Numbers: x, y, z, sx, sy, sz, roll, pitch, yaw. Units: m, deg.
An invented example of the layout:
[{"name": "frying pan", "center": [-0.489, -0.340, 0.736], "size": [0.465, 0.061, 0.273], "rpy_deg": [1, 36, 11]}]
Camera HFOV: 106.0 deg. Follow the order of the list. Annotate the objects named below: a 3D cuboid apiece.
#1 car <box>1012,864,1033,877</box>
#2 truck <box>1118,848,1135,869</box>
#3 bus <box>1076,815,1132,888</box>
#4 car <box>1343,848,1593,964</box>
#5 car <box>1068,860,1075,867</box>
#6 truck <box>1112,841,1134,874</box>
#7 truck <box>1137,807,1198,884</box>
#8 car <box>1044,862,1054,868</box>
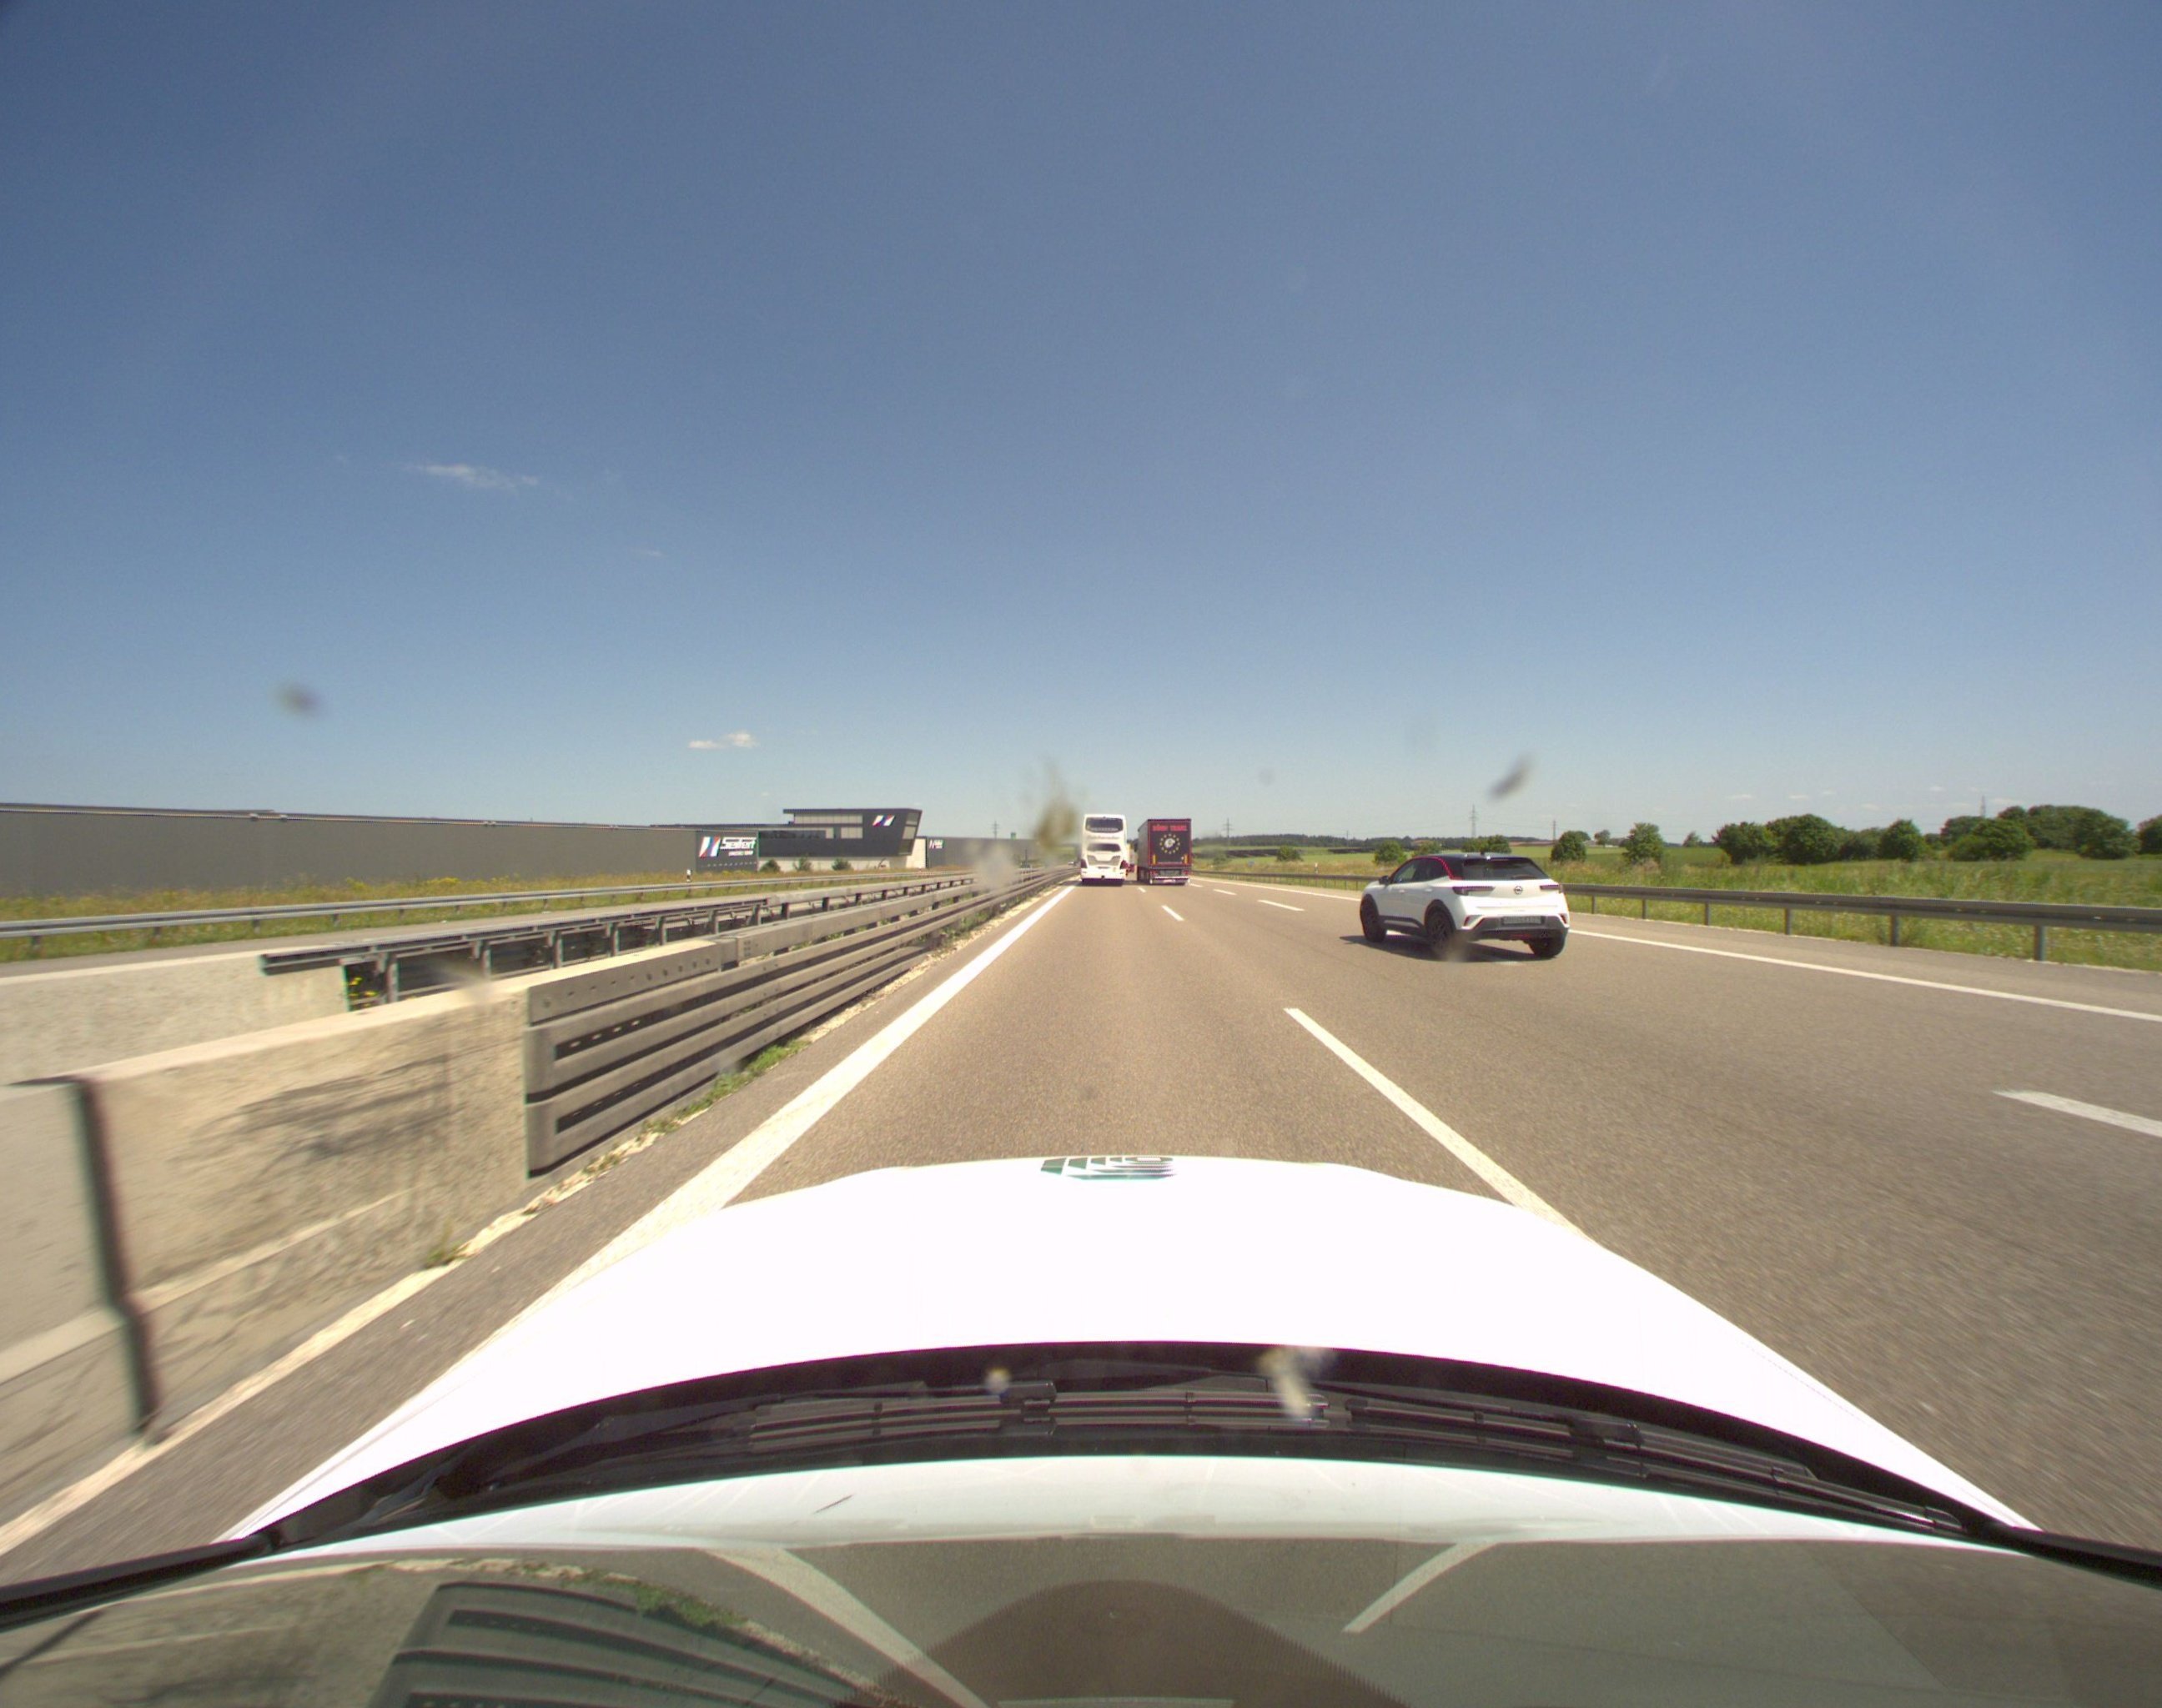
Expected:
[{"name": "car", "center": [-6.457, 1.823, 90.586], "size": [1.987, 1.413, 4.000], "rpy_deg": [-1, 0, 1]}, {"name": "truck", "center": [7.746, 0.784, 139.572], "size": [2.573, 3.401, 8.684], "rpy_deg": [-1, 0, 1]}, {"name": "bus", "center": [1.274, -0.239, 49.358], "size": [2.971, 3.974, 9.105], "rpy_deg": [-1, 1, 0]}, {"name": "car", "center": [5.980, 0.699, 13.252], "size": [1.886, 1.529, 4.258], "rpy_deg": [-2, 0, -2]}, {"name": "car", "center": [-2.788, 2.804, 244.105], "size": [1.987, 1.838, 4.000], "rpy_deg": [-1, 0, 1]}, {"name": "truck", "center": [5.066, 0.449, 99.523], "size": [2.429, 3.789, 6.494], "rpy_deg": [-1, 0, 1]}, {"name": "truck", "center": [5.496, -0.362, 54.414], "size": [3.365, 4.464, 13.577], "rpy_deg": [-1, -1, 3]}, {"name": "car", "center": [-6.959, 2.383, 176.749], "size": [1.987, 1.420, 4.000], "rpy_deg": [-1, 0, 1]}]
